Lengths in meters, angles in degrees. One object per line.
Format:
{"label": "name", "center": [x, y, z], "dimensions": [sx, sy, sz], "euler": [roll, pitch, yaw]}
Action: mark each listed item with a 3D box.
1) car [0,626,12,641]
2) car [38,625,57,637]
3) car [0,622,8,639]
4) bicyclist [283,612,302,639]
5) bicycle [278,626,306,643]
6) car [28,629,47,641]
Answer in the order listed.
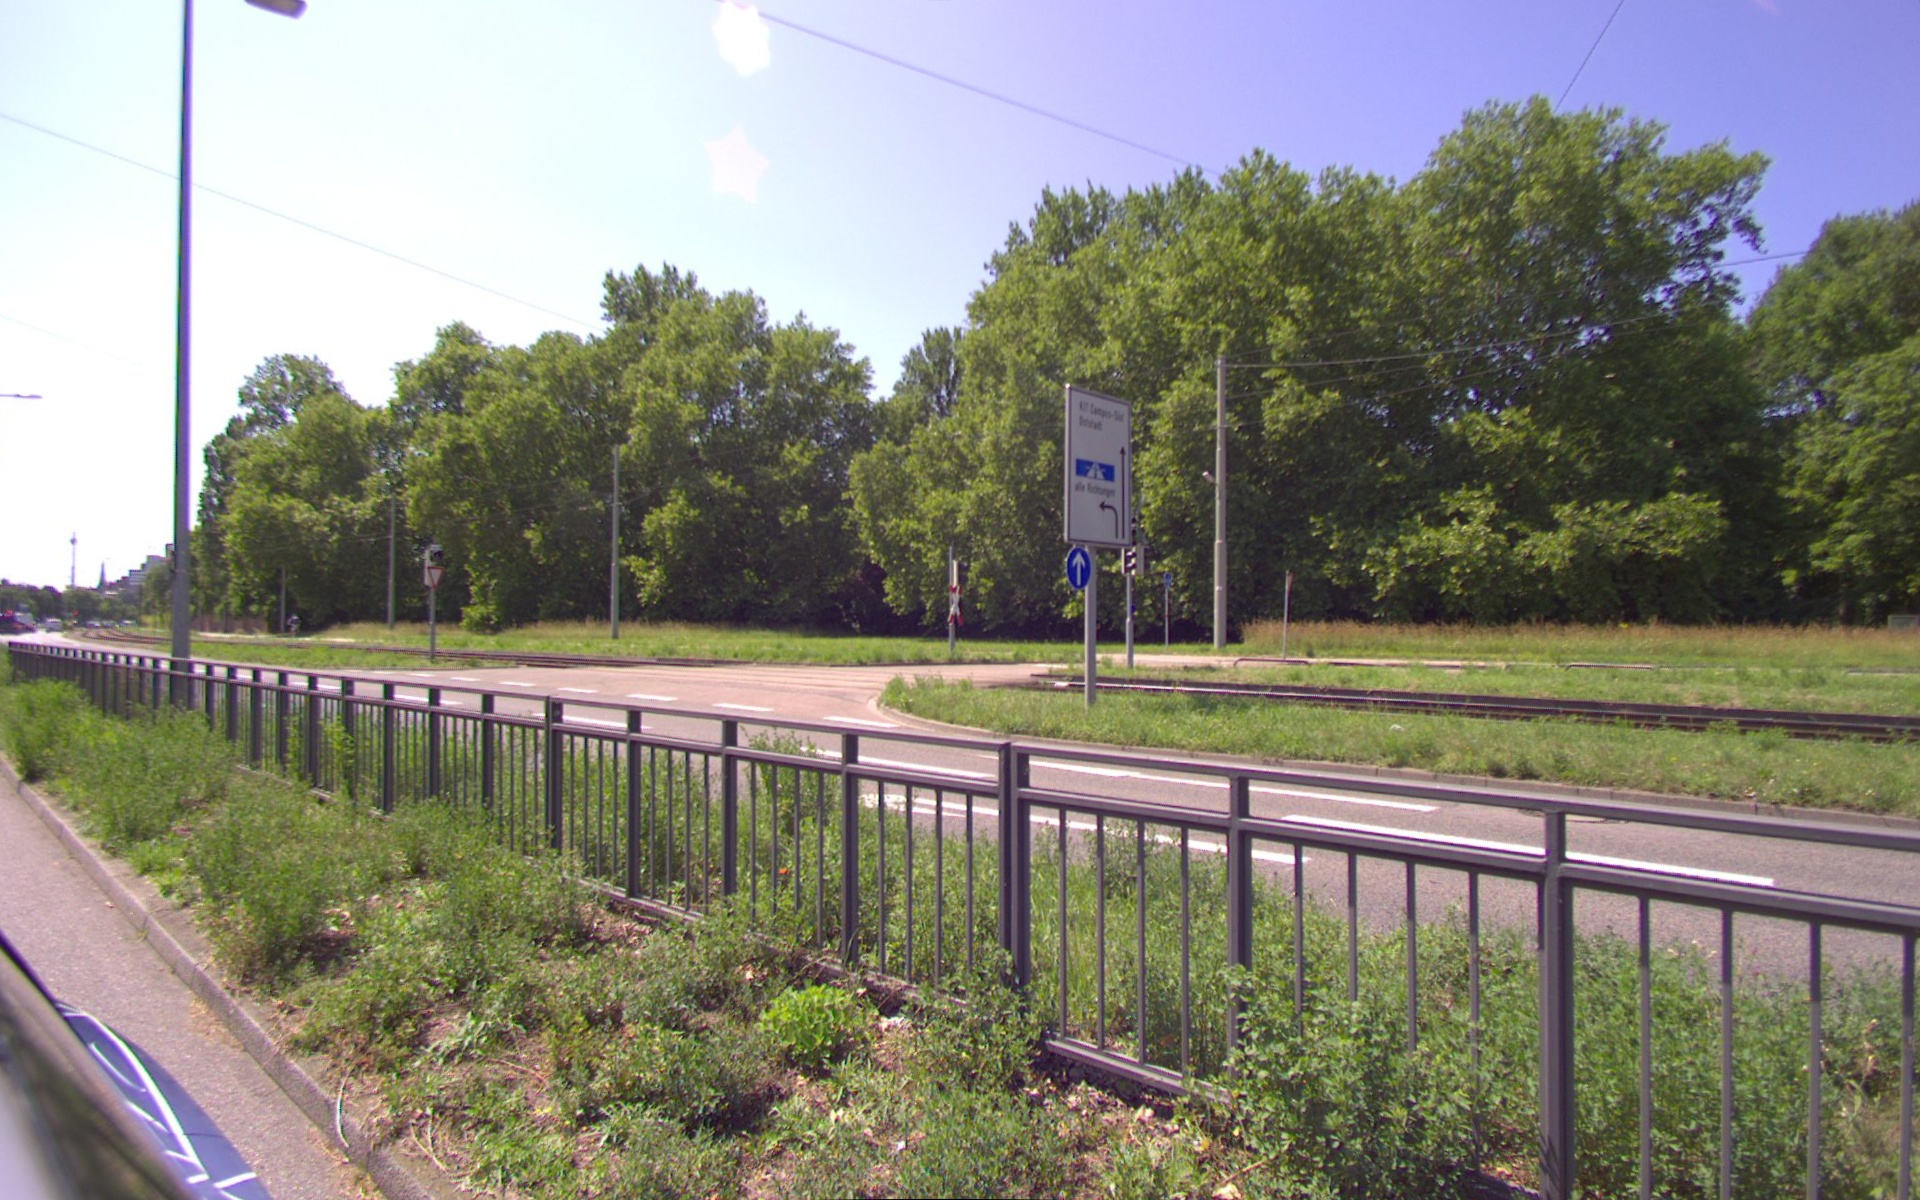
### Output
{"label": "car", "center": [-160.181, 5.510, 165.740], "dimensions": [3.168, 2.413, 6.614], "euler": [-1, -1, 13]}
{"label": "car", "center": [-136.631, 4.641, 151.564], "dimensions": [1.970, 1.871, 4.003], "euler": [1, -2, -44]}
{"label": "car", "center": [-107.923, 3.395, 113.205], "dimensions": [1.970, 1.871, 4.004], "euler": [1, -2, -43]}
{"label": "bicyclist", "center": [-45.681, 1.756, 69.265], "dimensions": [1.117, 1.820, 0.851], "euler": [-1, -2, 41]}
{"label": "bicycle", "center": [-45.735, 2.354, 69.267], "dimensions": [2.785, 1.171, 0.851], "euler": [-1, -2, 41]}
{"label": "car", "center": [-141.839, 5.400, 155.597], "dimensions": [1.970, 1.871, 4.003], "euler": [1, -2, -44]}
